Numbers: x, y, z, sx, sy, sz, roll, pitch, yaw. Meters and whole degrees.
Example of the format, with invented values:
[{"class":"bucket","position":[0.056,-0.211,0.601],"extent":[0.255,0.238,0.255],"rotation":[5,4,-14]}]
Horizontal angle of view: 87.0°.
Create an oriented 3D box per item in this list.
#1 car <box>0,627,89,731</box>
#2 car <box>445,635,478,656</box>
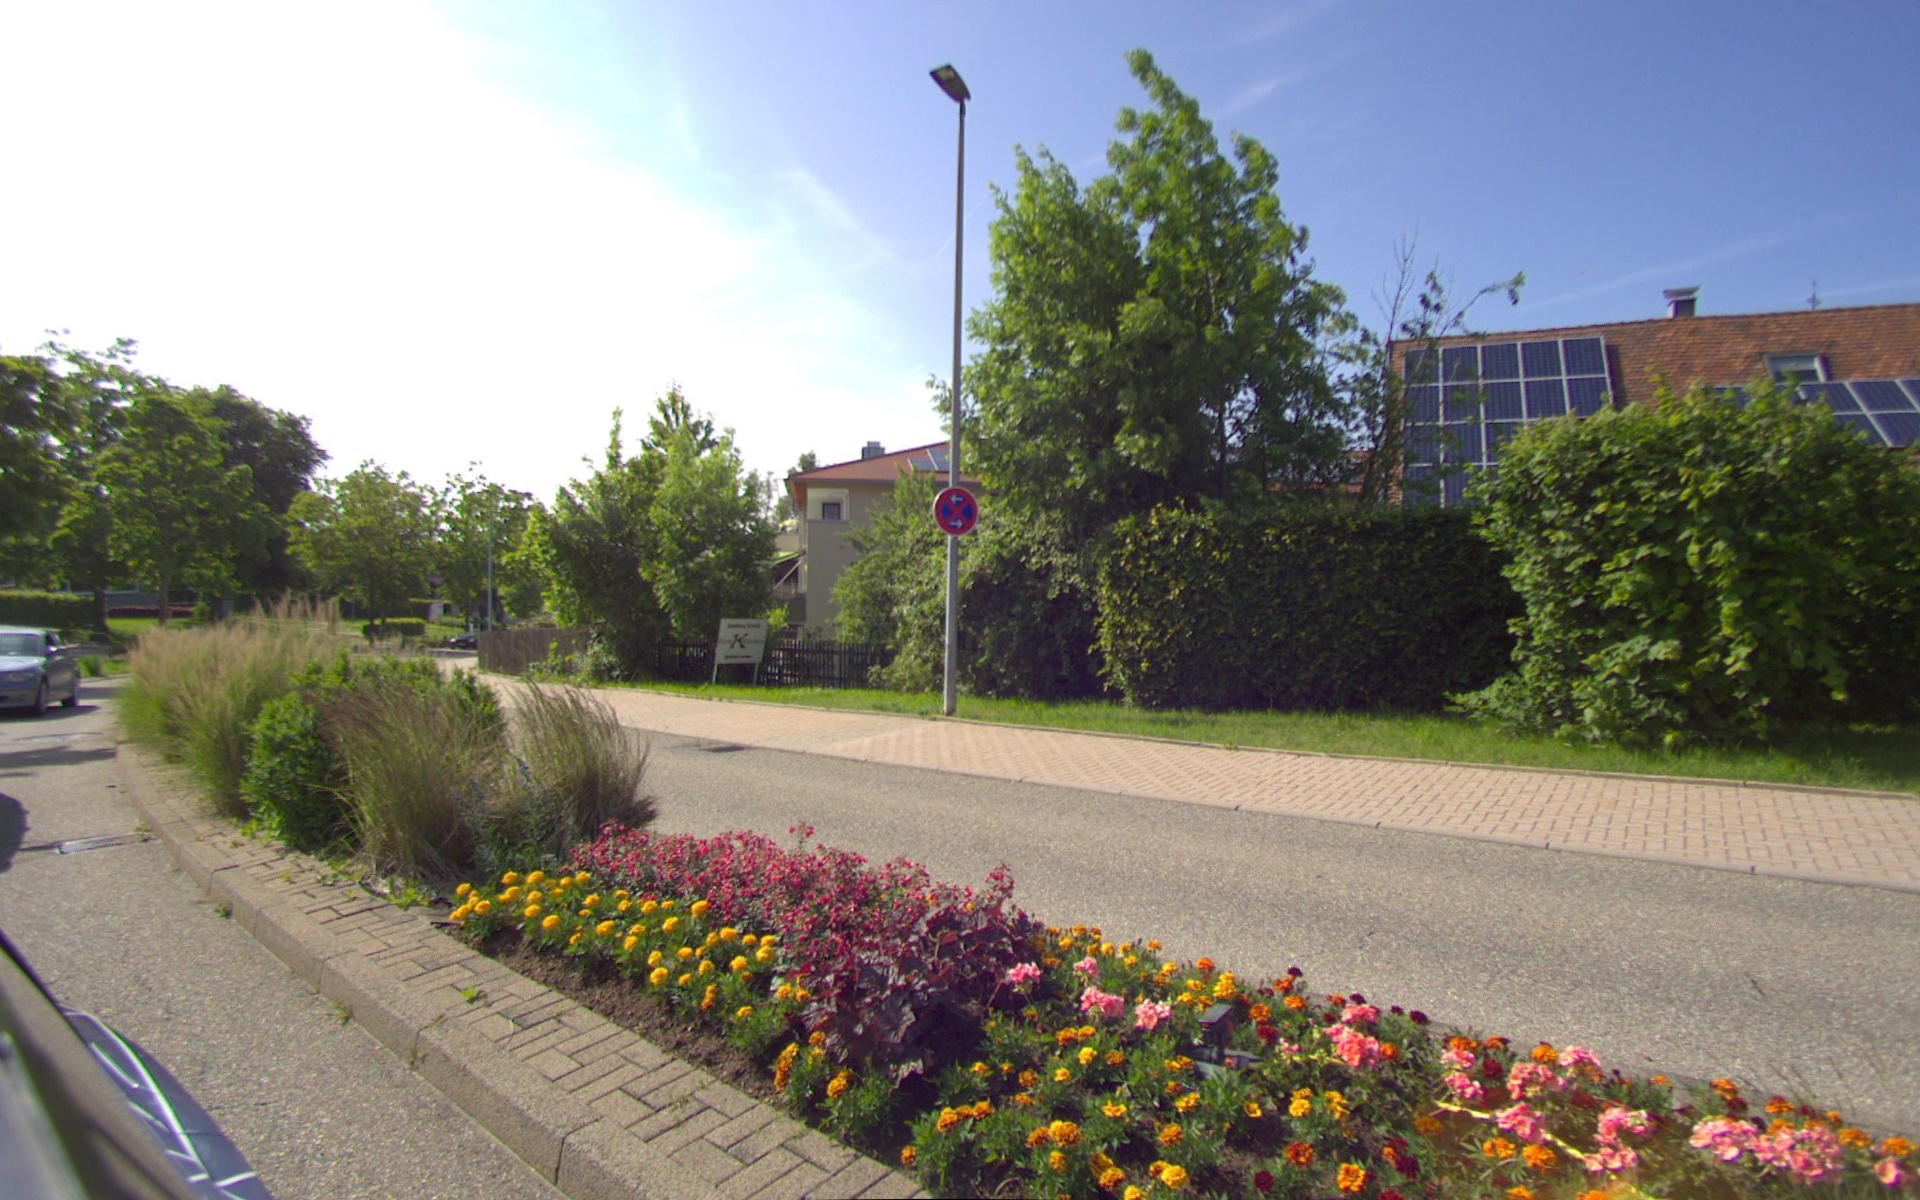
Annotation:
[{"class":"car","position":[-15.915,1.215,16.551],"extent":[1.872,1.519,4.011],"rotation":[4,-3,-32]},{"class":"car","position":[-34.419,3.156,69.933],"extent":[1.455,1.375,2.810],"rotation":[2,-2,-14]}]
